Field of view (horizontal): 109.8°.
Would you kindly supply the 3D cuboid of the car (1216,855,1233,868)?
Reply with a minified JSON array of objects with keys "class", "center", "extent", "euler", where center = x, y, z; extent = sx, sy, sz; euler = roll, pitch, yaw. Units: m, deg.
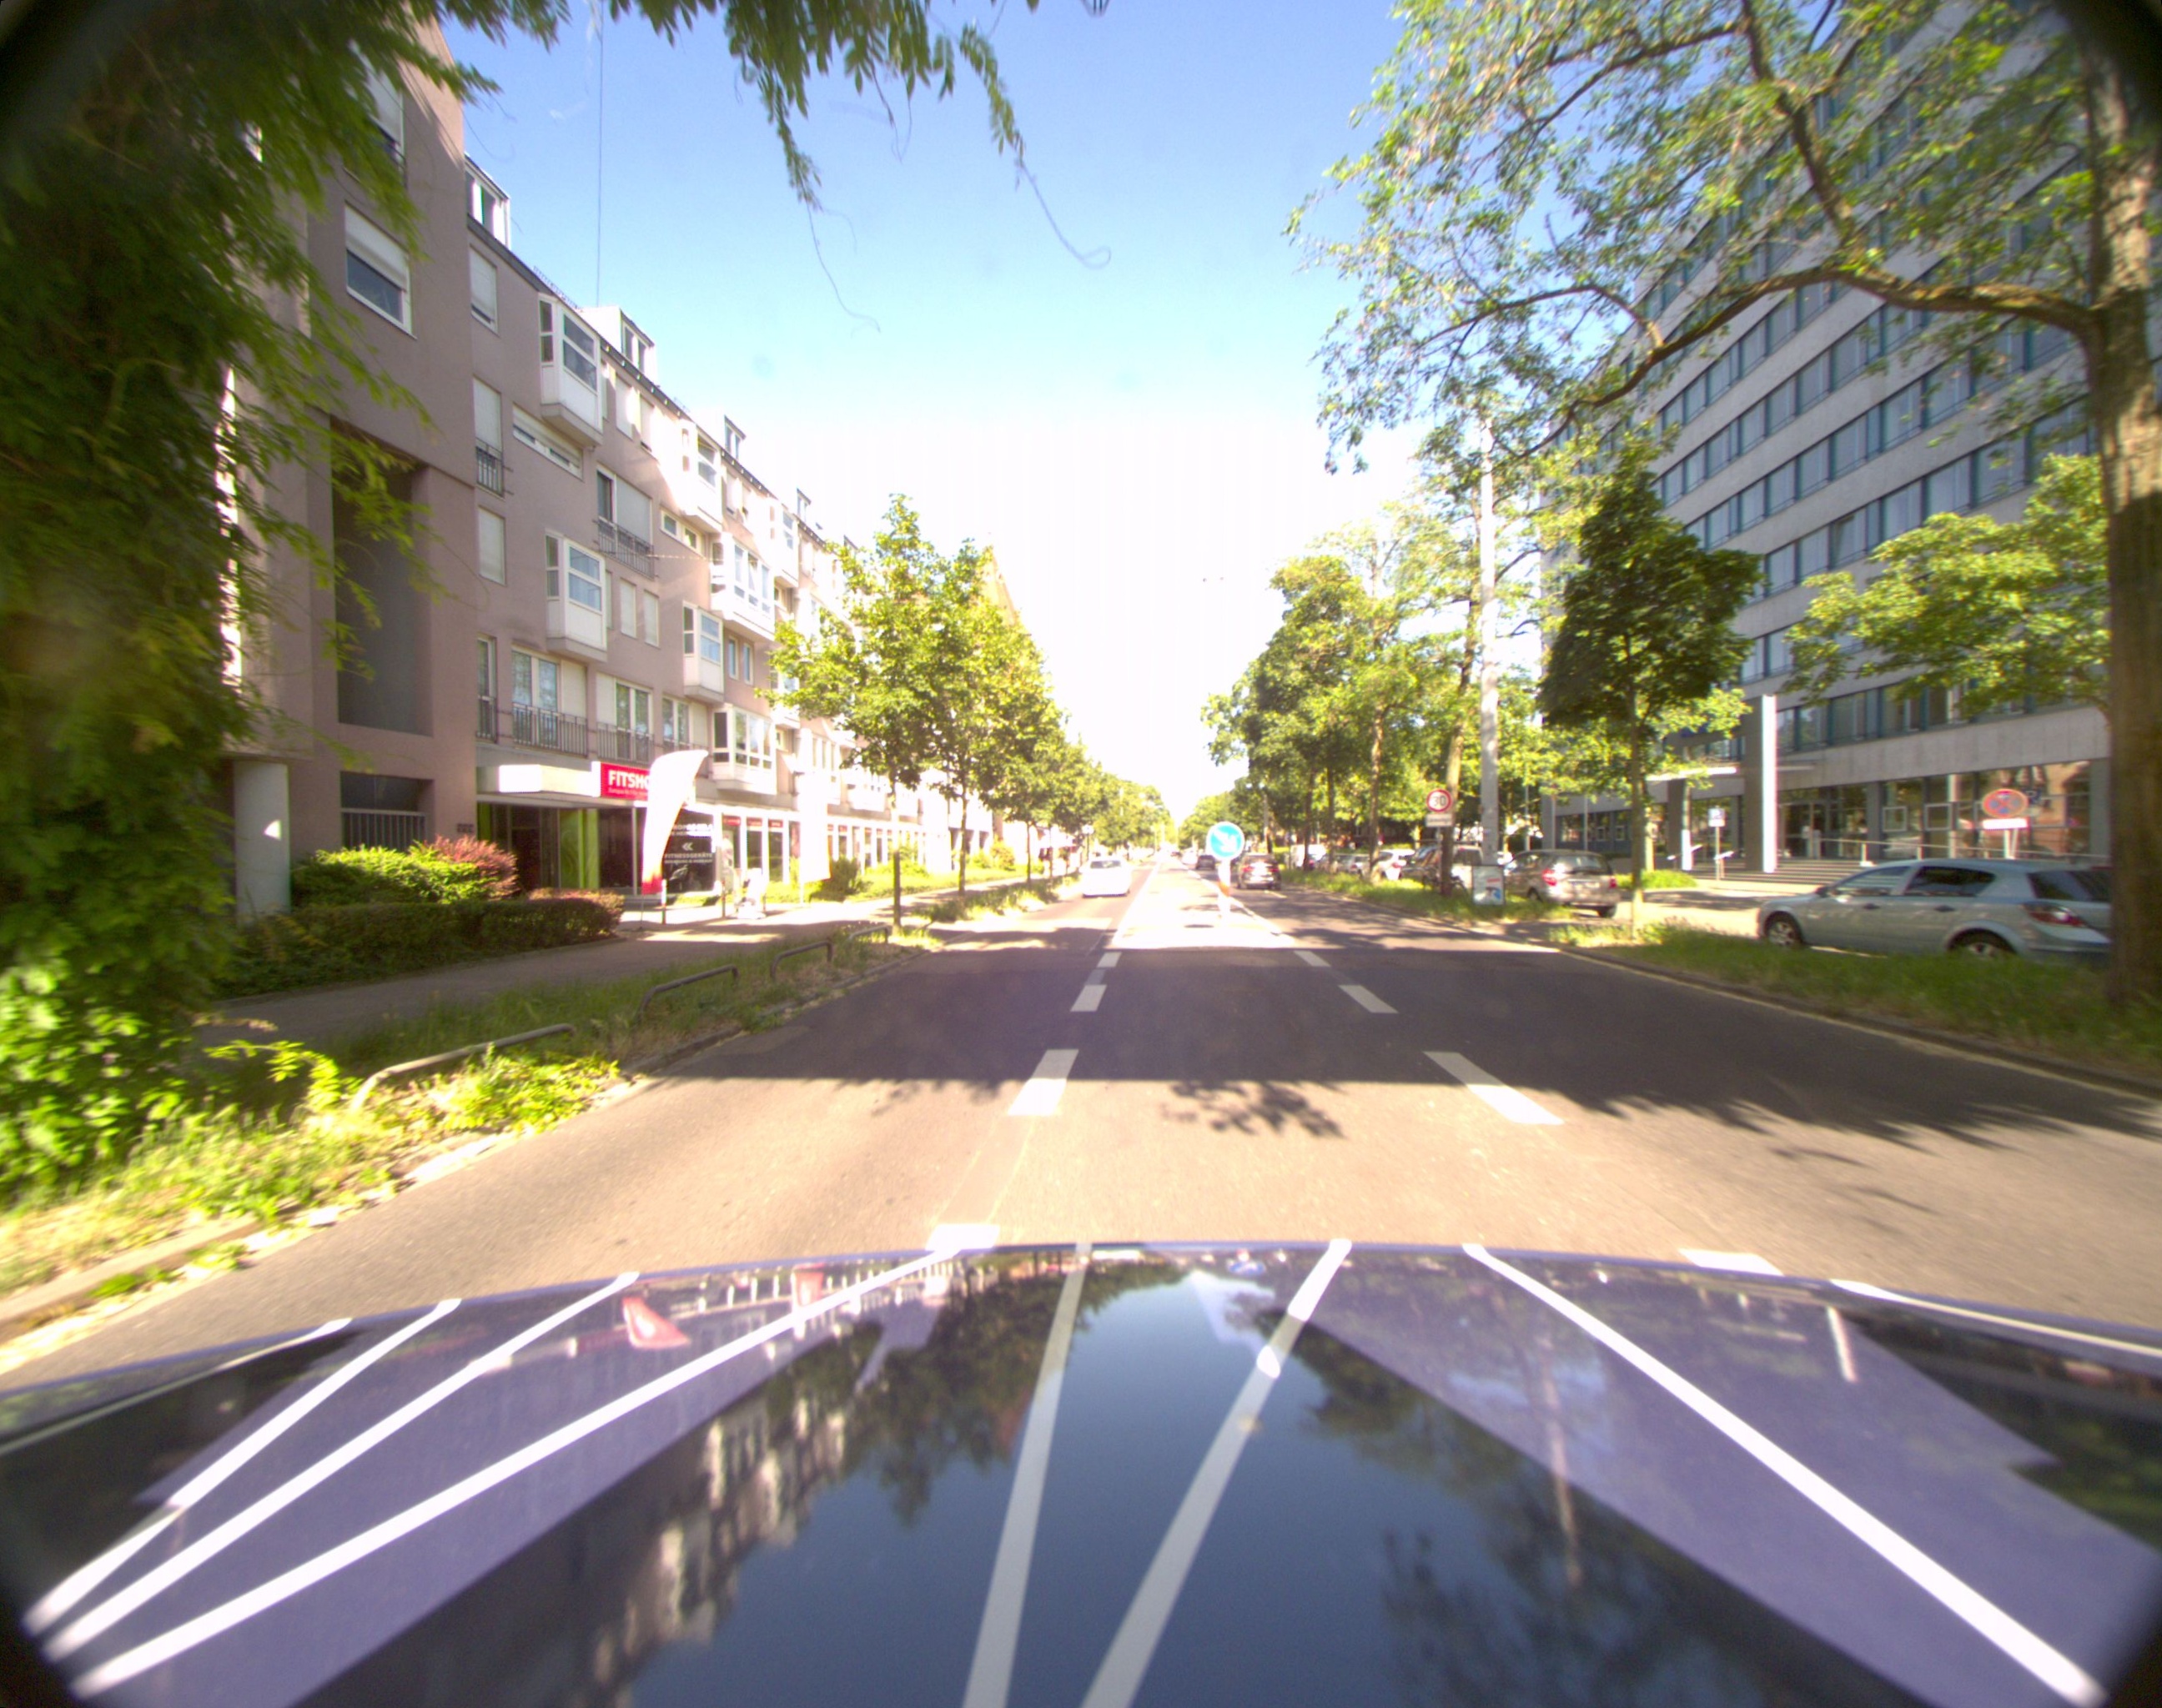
[{"class":"car","center":[16.315,0.816,86.492],"extent":[1.605,1.406,4.002],"euler":[-1,1,7]}]

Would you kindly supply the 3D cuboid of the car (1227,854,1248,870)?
[{"class":"car","center":[15.451,0.742,75.039],"extent":[1.739,1.481,4.002],"euler":[-1,1,7]}]

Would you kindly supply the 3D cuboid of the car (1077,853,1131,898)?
[{"class":"car","center":[0.923,0.747,28.203],"extent":[1.663,1.521,4.101],"euler":[-1,0,6]}]

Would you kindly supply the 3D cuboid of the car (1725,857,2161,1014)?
[{"class":"car","center":[10.695,0.827,9.607],"extent":[1.656,1.440,4.283],"euler":[3,1,5]}]

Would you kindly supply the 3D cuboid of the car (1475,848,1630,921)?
[{"class":"car","center":[11.718,0.671,19.234],"extent":[1.776,1.637,4.085],"euler":[0,1,7]}]

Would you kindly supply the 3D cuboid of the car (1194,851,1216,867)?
[{"class":"car","center":[11.609,0.428,71.440],"extent":[1.791,1.414,4.190],"euler":[1,1,6]}]

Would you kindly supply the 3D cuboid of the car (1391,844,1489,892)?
[{"class":"car","center":[12.539,0.423,26.836],"extent":[1.733,1.540,4.450],"euler":[-1,1,6]}]

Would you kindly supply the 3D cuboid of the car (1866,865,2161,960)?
[{"class":"car","center":[16.990,0.939,13.776],"extent":[1.685,1.395,3.802],"euler":[0,1,3]}]

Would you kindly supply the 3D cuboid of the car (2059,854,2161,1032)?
[{"class":"car","center":[10.134,0.814,5.362],"extent":[1.743,1.529,3.781],"euler":[2,1,6]}]

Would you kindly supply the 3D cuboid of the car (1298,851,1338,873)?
[{"class":"car","center":[15.003,0.495,48.294],"extent":[1.679,1.325,4.190],"euler":[-1,1,7]}]

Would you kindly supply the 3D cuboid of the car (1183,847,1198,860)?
[{"class":"car","center":[14.281,-0.050,99.275],"extent":[1.791,1.575,4.190],"euler":[-1,1,6]}]

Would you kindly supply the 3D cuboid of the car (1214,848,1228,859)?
[{"class":"car","center":[18.843,-0.102,102.271],"extent":[1.605,1.406,4.002],"euler":[-1,1,7]}]

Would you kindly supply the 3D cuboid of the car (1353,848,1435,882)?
[{"class":"car","center":[13.458,0.422,32.938],"extent":[1.720,1.375,4.492],"euler":[-1,1,0]}]

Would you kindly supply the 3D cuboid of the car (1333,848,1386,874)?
[{"class":"car","center":[13.754,0.322,37.667],"extent":[1.654,1.219,3.849],"euler":[-1,1,7]}]

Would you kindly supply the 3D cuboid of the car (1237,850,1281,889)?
[{"class":"car","center":[7.347,0.616,31.557],"extent":[1.470,1.518,2.818],"euler":[0,1,7]}]

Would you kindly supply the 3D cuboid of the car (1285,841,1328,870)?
[{"class":"car","center":[15.782,0.076,53.385],"extent":[2.069,1.898,4.527],"euler":[-1,1,5]}]

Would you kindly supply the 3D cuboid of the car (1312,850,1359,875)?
[{"class":"car","center":[14.367,0.448,43.051],"extent":[1.656,1.336,3.971],"euler":[-1,1,5]}]
